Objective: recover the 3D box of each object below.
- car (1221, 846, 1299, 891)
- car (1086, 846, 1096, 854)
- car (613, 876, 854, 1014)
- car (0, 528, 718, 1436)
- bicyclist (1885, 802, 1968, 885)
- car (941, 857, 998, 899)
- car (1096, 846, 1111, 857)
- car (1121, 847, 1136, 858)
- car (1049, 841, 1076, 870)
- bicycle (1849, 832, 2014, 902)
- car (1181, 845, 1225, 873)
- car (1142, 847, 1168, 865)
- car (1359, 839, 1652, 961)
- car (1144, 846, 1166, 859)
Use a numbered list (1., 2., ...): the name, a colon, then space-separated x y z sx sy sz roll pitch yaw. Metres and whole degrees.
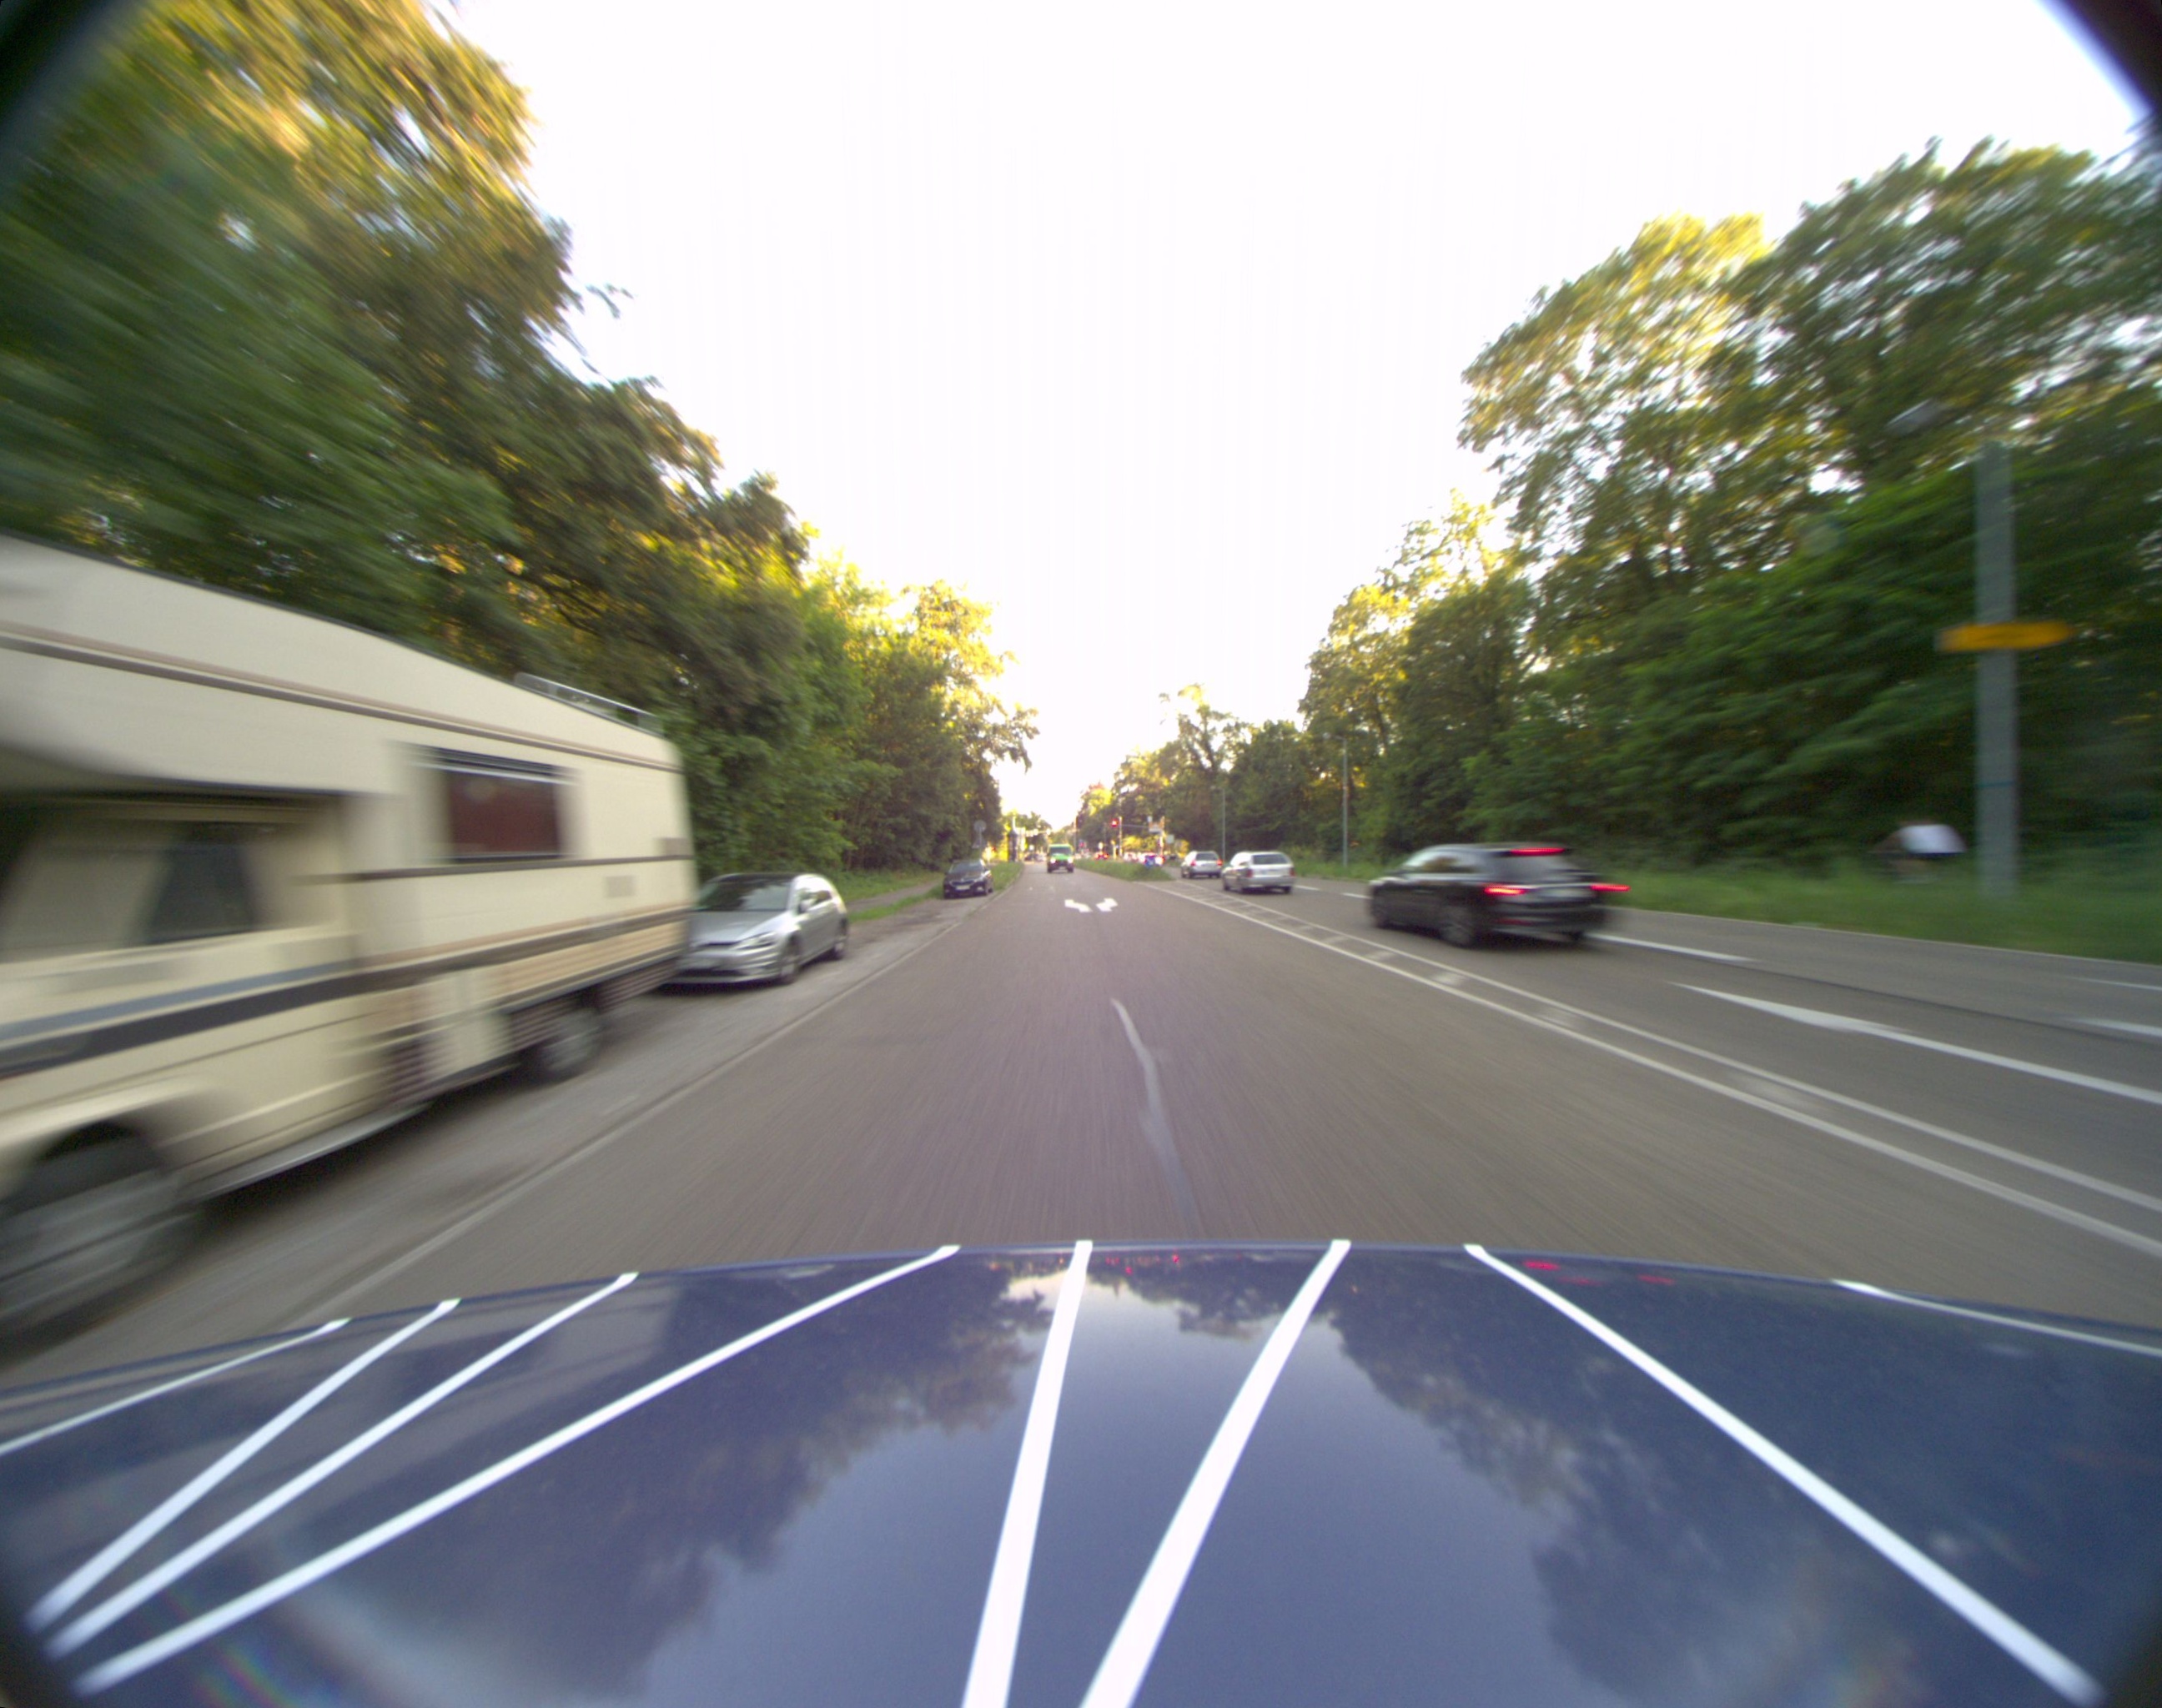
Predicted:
1. car: 6.039 0.441 26.116 1.724 1.389 4.375 -1 0 1
2. car: 2.302 -0.926 173.503 1.862 1.835 4.118 -1 1 -5
3. car: -4.641 1.117 10.888 1.703 1.398 4.074 -1 1 -3
4. car: -4.739 0.397 4.585 2.415 2.841 5.929 -2 1 -3
5. bicyclist: 15.827 -0.187 14.245 0.621 1.502 0.847 -1 0 2
6. car: -4.409 0.923 30.575 1.668 1.397 3.941 -4 1 -1
7. car: 3.390 -0.365 114.038 1.819 1.618 4.449 0 1 -4
8. car: 6.893 -0.268 111.636 1.826 1.604 4.640 1 1 -1
9. car: -1.636 0.112 63.993 2.044 2.264 5.939 -2 0 -3
10. bicycle: 15.823 0.217 14.251 0.631 1.210 2.262 -1 0 3
11. car: 6.615 0.244 41.580 1.720 1.437 4.173 -1 0 1
12. car: 6.535 0.152 67.703 1.841 1.499 3.936 -1 2 -1
13. car: 6.136 0.552 11.797 1.896 1.432 4.769 -3 1 1
14. car: 8.546 -0.196 88.183 1.999 1.450 3.808 -1 2 -2
